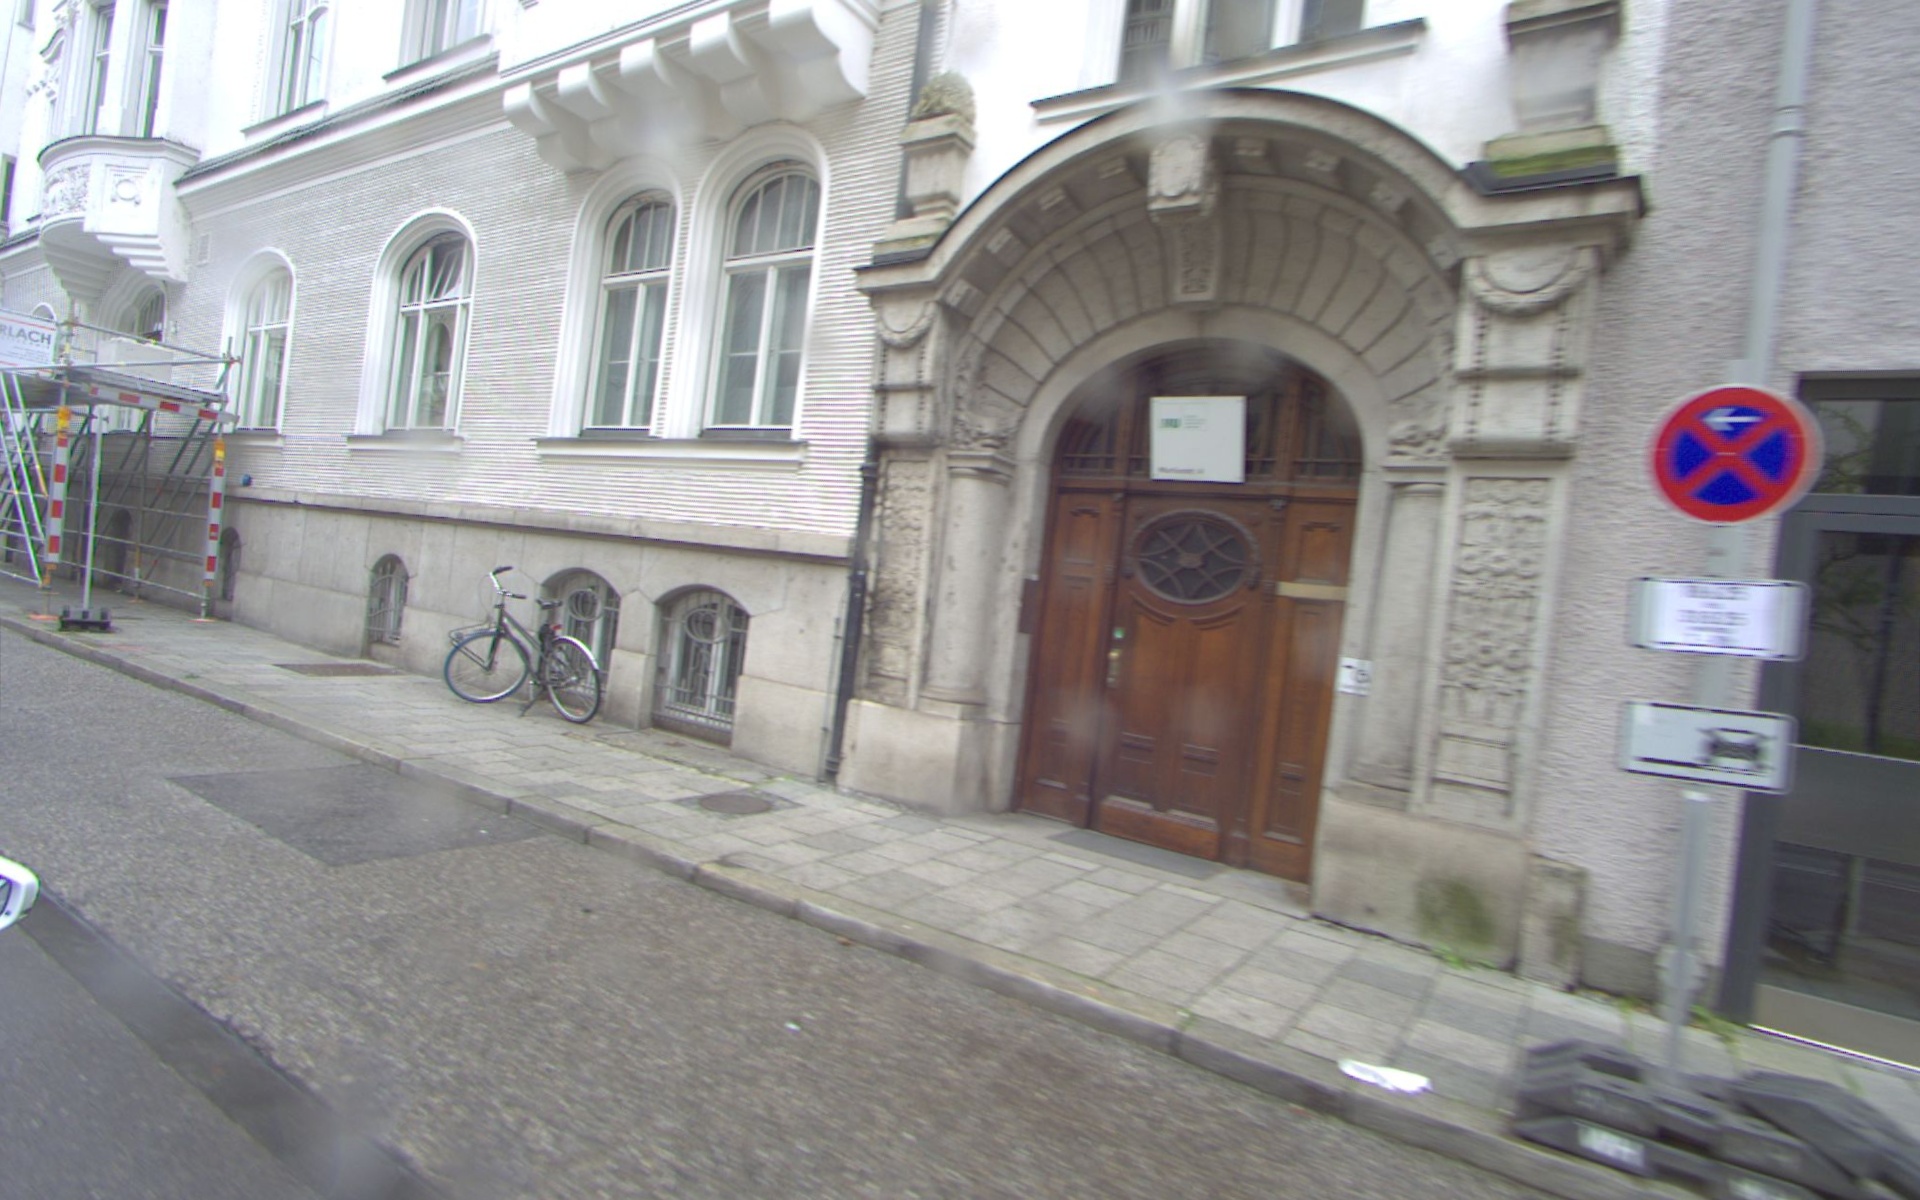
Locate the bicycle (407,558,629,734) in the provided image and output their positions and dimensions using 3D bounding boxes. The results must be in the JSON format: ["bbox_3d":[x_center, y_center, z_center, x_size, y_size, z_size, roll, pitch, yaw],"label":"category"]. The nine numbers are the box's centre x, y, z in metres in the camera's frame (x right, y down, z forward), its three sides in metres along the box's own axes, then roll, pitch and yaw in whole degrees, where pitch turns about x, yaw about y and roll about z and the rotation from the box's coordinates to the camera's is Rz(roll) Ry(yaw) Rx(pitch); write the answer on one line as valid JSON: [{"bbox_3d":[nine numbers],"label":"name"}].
[{"bbox_3d":[-3.752,0.337,8.487,1.889,1.223,0.660,6,4,29],"label":"bicycle"}]
